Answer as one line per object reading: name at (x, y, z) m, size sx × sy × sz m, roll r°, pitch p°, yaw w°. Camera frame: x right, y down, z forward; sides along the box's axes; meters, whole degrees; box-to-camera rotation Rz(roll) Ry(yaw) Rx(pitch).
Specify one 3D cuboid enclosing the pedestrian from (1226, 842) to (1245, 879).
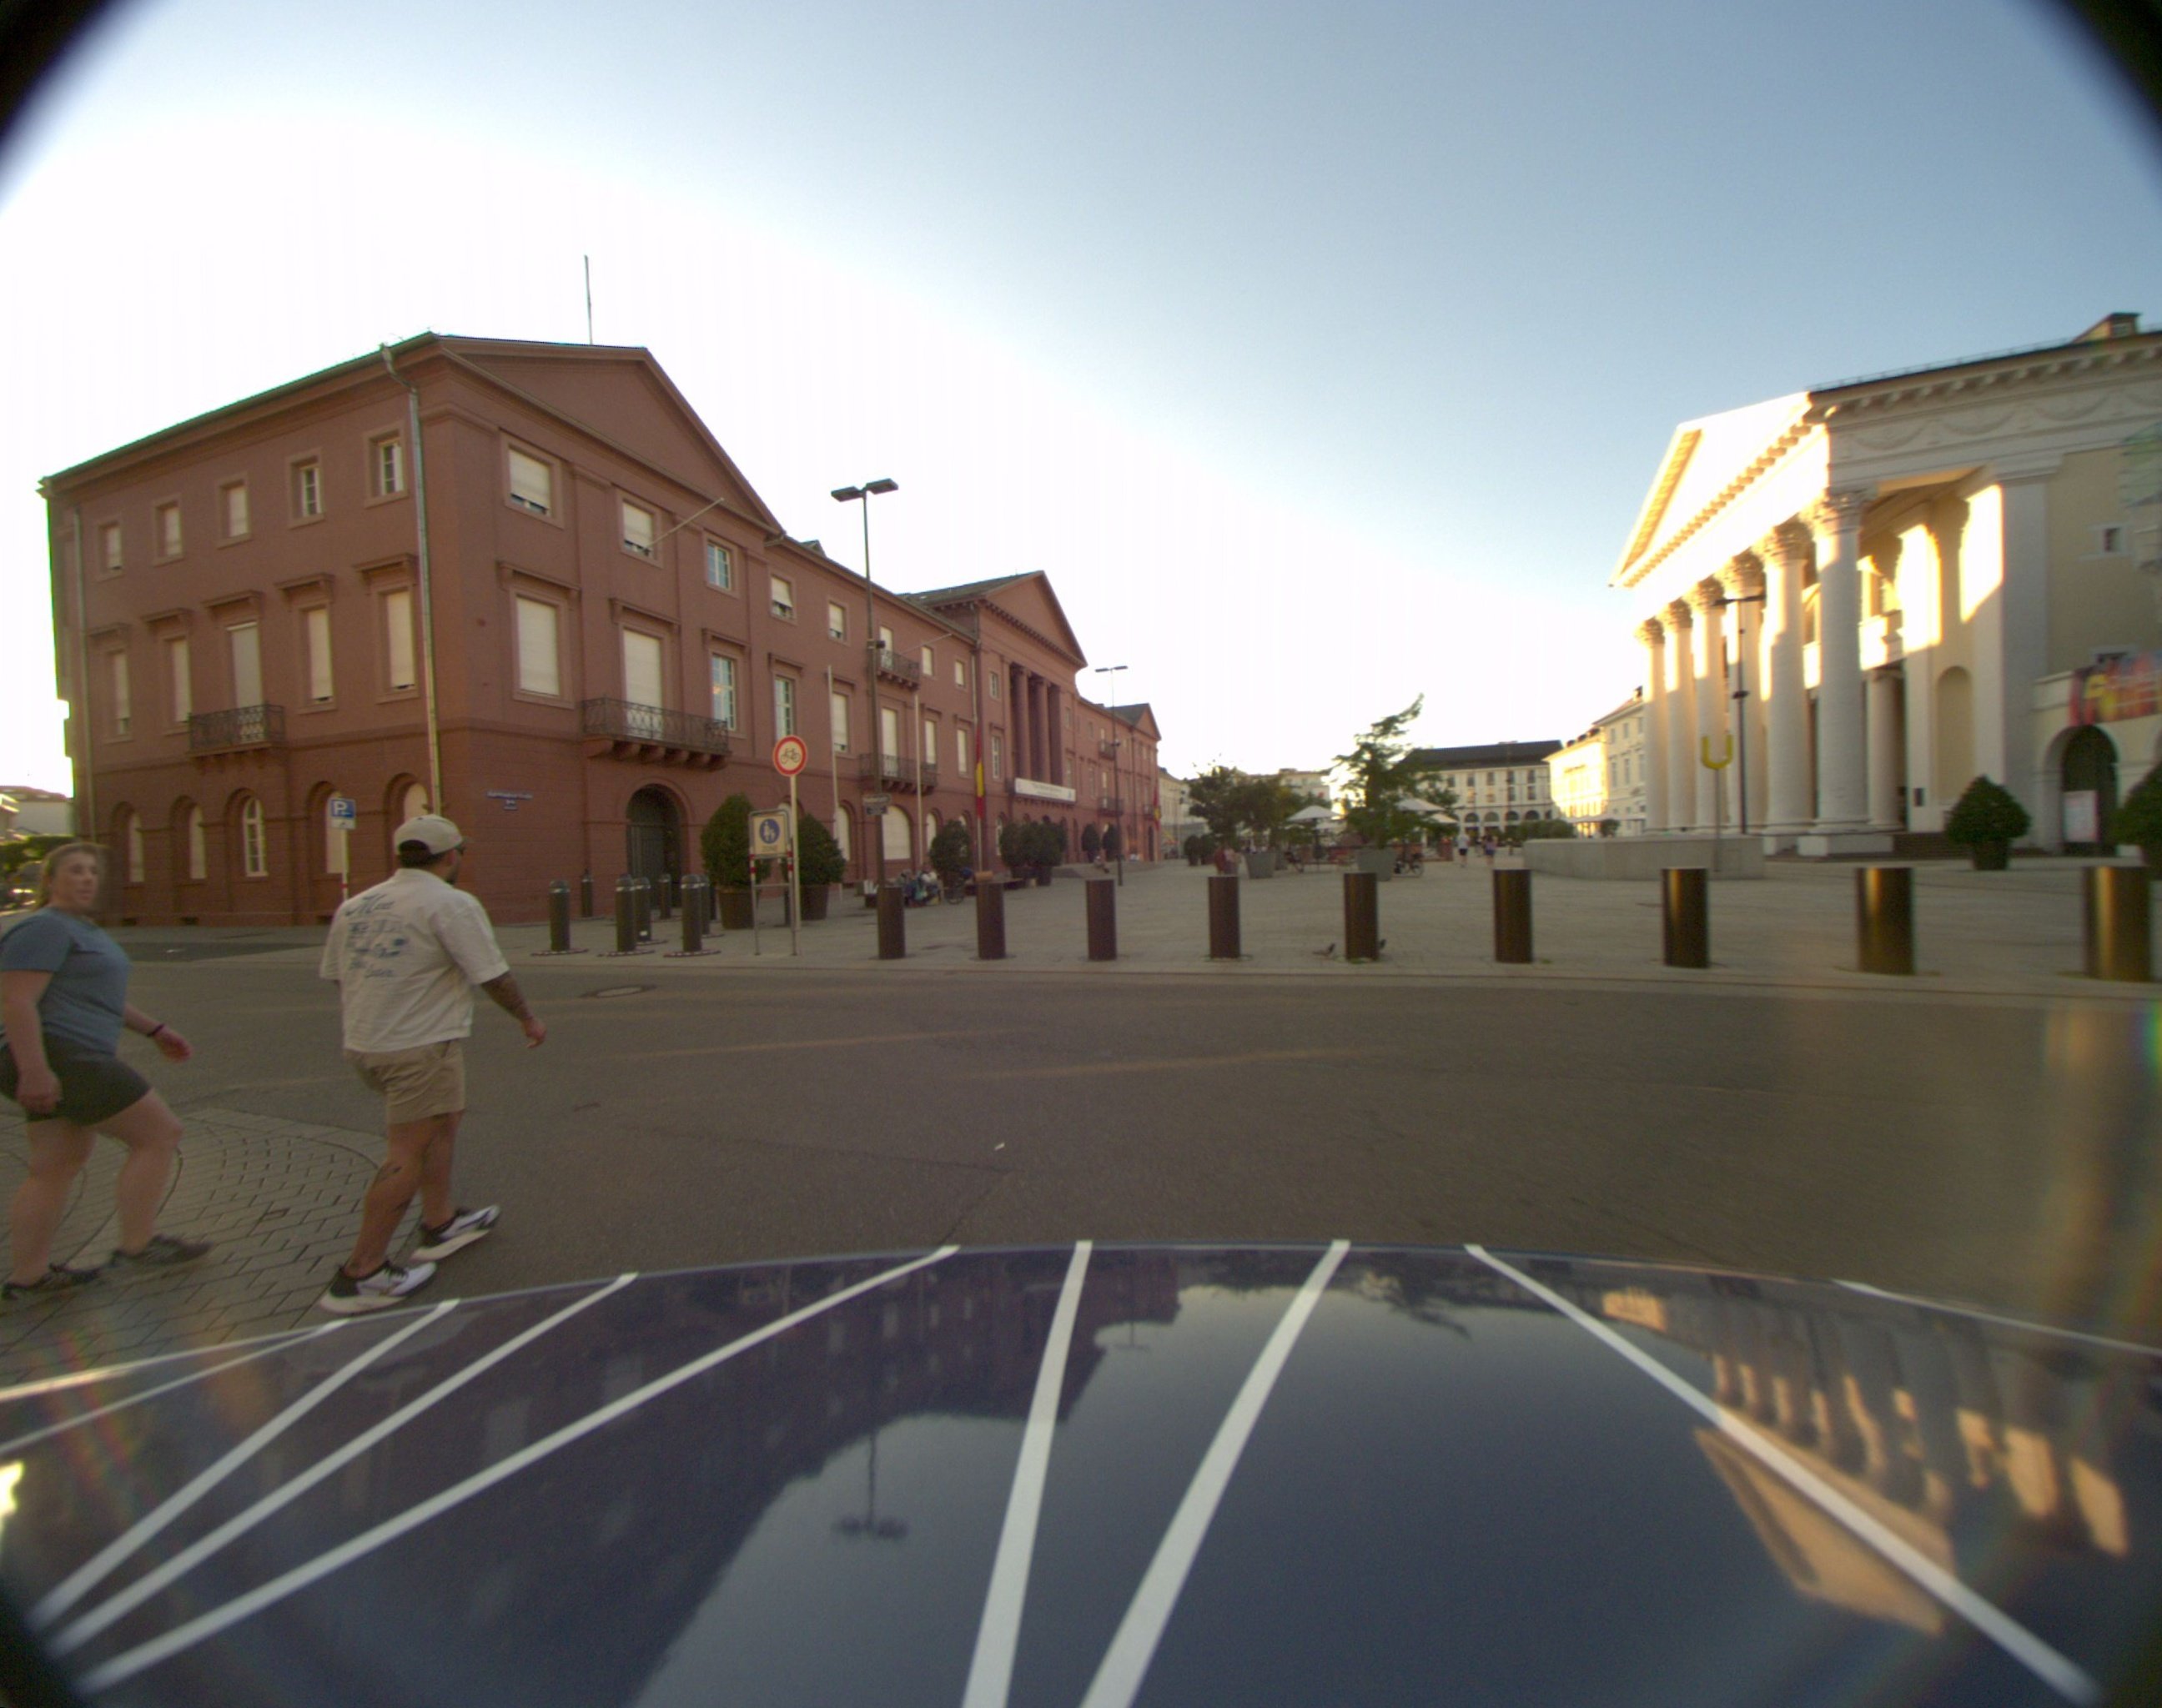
pedestrian at (6.661, 0.291, 32.768) m, size 0.682 × 1.550 × 0.653 m, roll -2°, pitch 1°, yaw 18°

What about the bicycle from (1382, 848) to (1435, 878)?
bicycle at (12.830, 0.353, 29.772) m, size 0.846 × 1.115 × 1.683 m, roll -3°, pitch 1°, yaw -36°

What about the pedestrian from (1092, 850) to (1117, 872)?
pedestrian at (1.492, 0.437, 47.183) m, size 1.403 × 1.255 × 1.328 m, roll -2°, pitch 1°, yaw 7°

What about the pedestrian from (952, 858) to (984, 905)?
pedestrian at (-3.595, 0.854, 24.159) m, size 0.585 × 1.439 × 0.828 m, roll -3°, pitch 1°, yaw -39°

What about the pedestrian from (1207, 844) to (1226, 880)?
pedestrian at (5.910, 0.352, 33.079) m, size 0.682 × 1.557 × 0.653 m, roll -2°, pitch 1°, yaw 18°

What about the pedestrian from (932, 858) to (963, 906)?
pedestrian at (-4.135, 0.868, 23.585) m, size 0.585 × 1.439 × 0.828 m, roll -3°, pitch 1°, yaw -37°

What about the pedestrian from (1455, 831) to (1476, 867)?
pedestrian at (18.973, -0.234, 37.509) m, size 0.855 × 1.720 × 0.882 m, roll -1°, pitch 1°, yaw 23°

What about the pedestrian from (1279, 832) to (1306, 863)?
pedestrian at (15.561, -0.448, 55.904) m, size 1.252 × 2.222 × 1.503 m, roll -2°, pitch 1°, yaw -12°

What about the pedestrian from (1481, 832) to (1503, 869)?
pedestrian at (19.739, -0.178, 36.509) m, size 0.855 × 1.720 × 0.882 m, roll -1°, pitch 1°, yaw 23°

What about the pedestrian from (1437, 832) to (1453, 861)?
pedestrian at (22.472, -0.464, 46.937) m, size 0.855 × 1.720 × 0.882 m, roll -1°, pitch 1°, yaw 23°

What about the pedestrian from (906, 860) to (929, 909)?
pedestrian at (-4.966, 0.907, 23.055) m, size 0.584 × 1.439 × 0.830 m, roll -2°, pitch 1°, yaw -9°

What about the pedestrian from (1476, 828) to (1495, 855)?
pedestrian at (29.338, -0.899, 55.075) m, size 1.090 × 1.900 × 0.882 m, roll -1°, pitch 1°, yaw 23°

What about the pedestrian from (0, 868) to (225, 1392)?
pedestrian at (-3.807, 0.928, 2.742) m, size 0.719 × 1.720 × 0.608 m, roll -2°, pitch 1°, yaw -27°

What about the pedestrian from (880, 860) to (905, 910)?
pedestrian at (-5.634, 0.926, 22.750) m, size 0.584 × 1.439 × 0.830 m, roll -2°, pitch 1°, yaw -9°

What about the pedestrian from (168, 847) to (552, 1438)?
pedestrian at (-2.435, 0.852, 2.697) m, size 0.767 × 1.720 × 0.667 m, roll -2°, pitch 1°, yaw -27°
